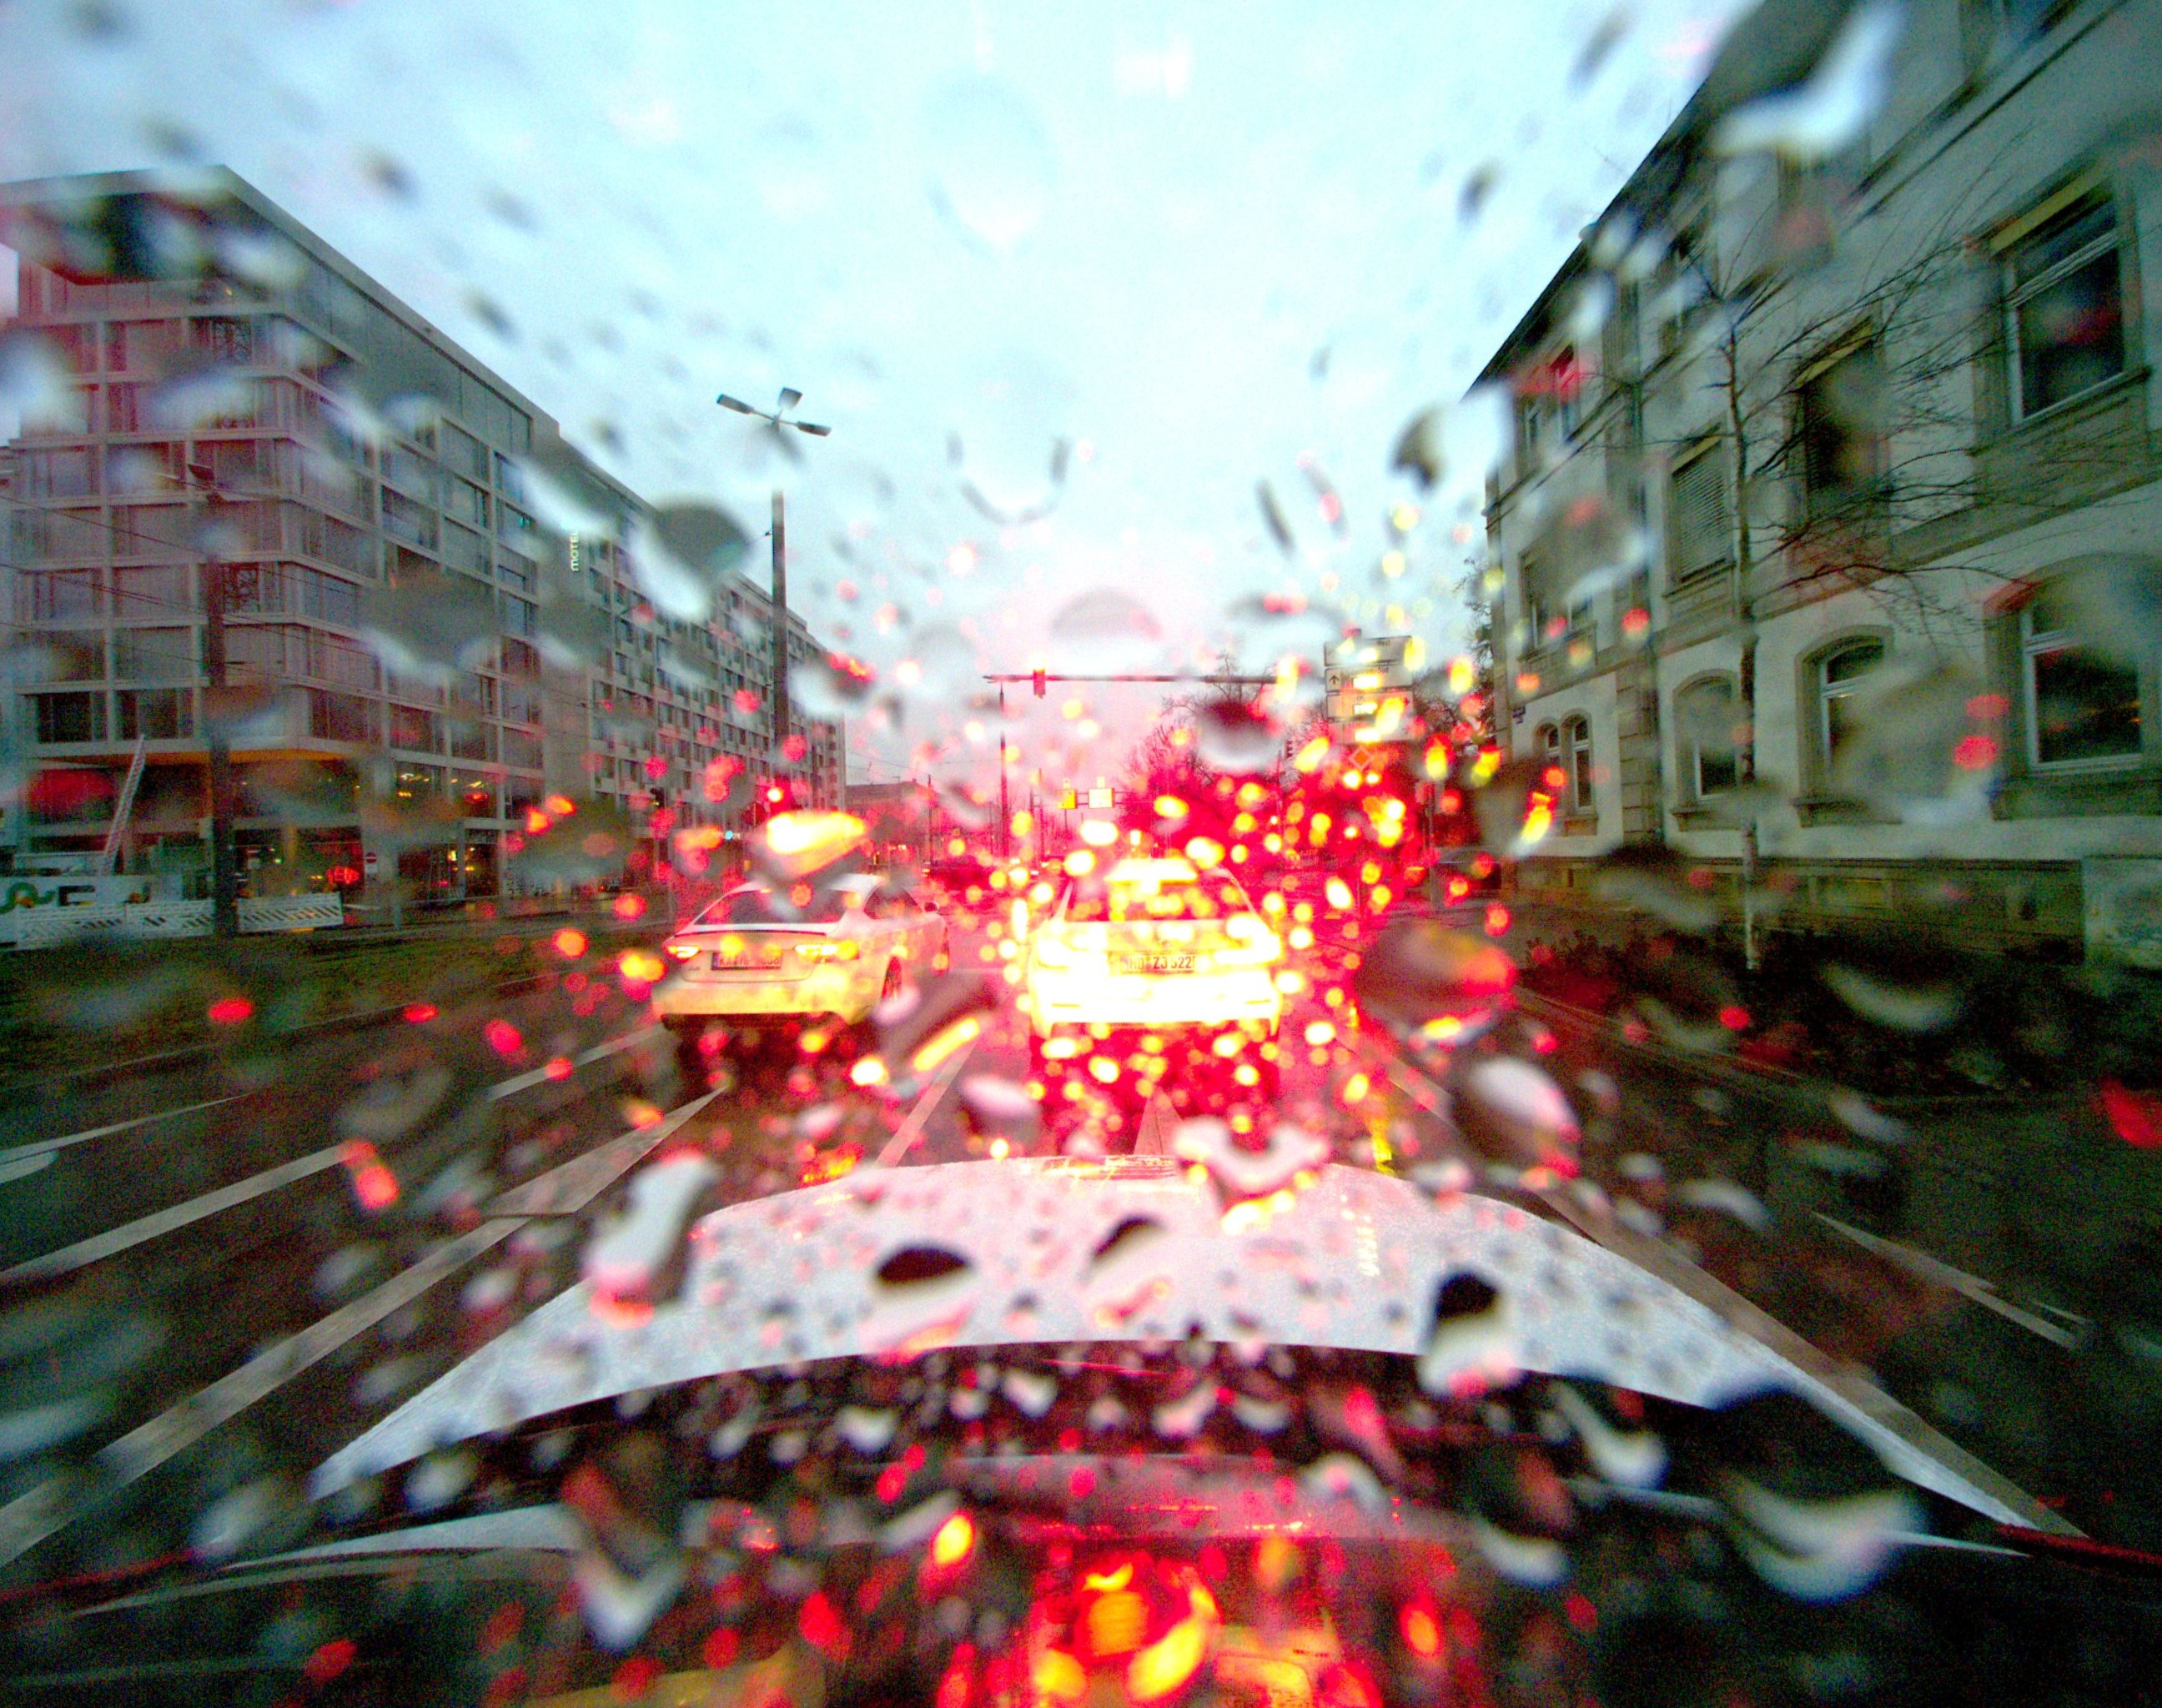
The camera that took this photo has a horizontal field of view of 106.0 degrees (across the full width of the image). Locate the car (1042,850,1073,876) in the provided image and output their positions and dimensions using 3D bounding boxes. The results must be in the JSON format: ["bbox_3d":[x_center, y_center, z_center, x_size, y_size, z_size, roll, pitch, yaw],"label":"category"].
[{"bbox_3d":[-1.459,0.591,51.958,1.837,1.609,3.944,0,-1,0],"label":"car"}]

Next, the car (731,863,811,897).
[{"bbox_3d":[-14.981,1.213,39.252,4.271,1.530,1.774,-1,-1,41],"label":"car"}]

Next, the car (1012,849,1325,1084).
[{"bbox_3d":[0.565,0.713,7.429,1.987,1.456,4.368,-1,0,0],"label":"car"}]

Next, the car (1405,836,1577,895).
[{"bbox_3d":[12.765,0.390,25.727,4.655,1.720,1.878,-1,-1,22],"label":"car"}]

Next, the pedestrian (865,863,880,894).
[{"bbox_3d":[-11.697,1.366,45.705,0.791,1.712,0.809,0,-1,-13],"label":"pedestrian"}]

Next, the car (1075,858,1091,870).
[{"bbox_3d":[0.299,1.250,106.579,1.987,1.456,4.368,-1,0,0],"label":"car"}]

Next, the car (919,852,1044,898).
[{"bbox_3d":[-4.011,0.854,32.851,4.654,1.720,1.912,-2,-1,23],"label":"car"}]

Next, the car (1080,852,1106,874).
[{"bbox_3d":[0.895,0.685,60.493,1.837,1.609,3.944,0,-1,0],"label":"car"}]

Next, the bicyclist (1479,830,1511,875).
[{"bbox_3d":[16.193,-0.053,31.880,0.964,1.759,0.817,-1,-1,18],"label":"bicyclist"}]

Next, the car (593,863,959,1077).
[{"bbox_3d":[-2.555,0.871,8.156,1.987,1.456,4.368,-1,0,0],"label":"car"}]
